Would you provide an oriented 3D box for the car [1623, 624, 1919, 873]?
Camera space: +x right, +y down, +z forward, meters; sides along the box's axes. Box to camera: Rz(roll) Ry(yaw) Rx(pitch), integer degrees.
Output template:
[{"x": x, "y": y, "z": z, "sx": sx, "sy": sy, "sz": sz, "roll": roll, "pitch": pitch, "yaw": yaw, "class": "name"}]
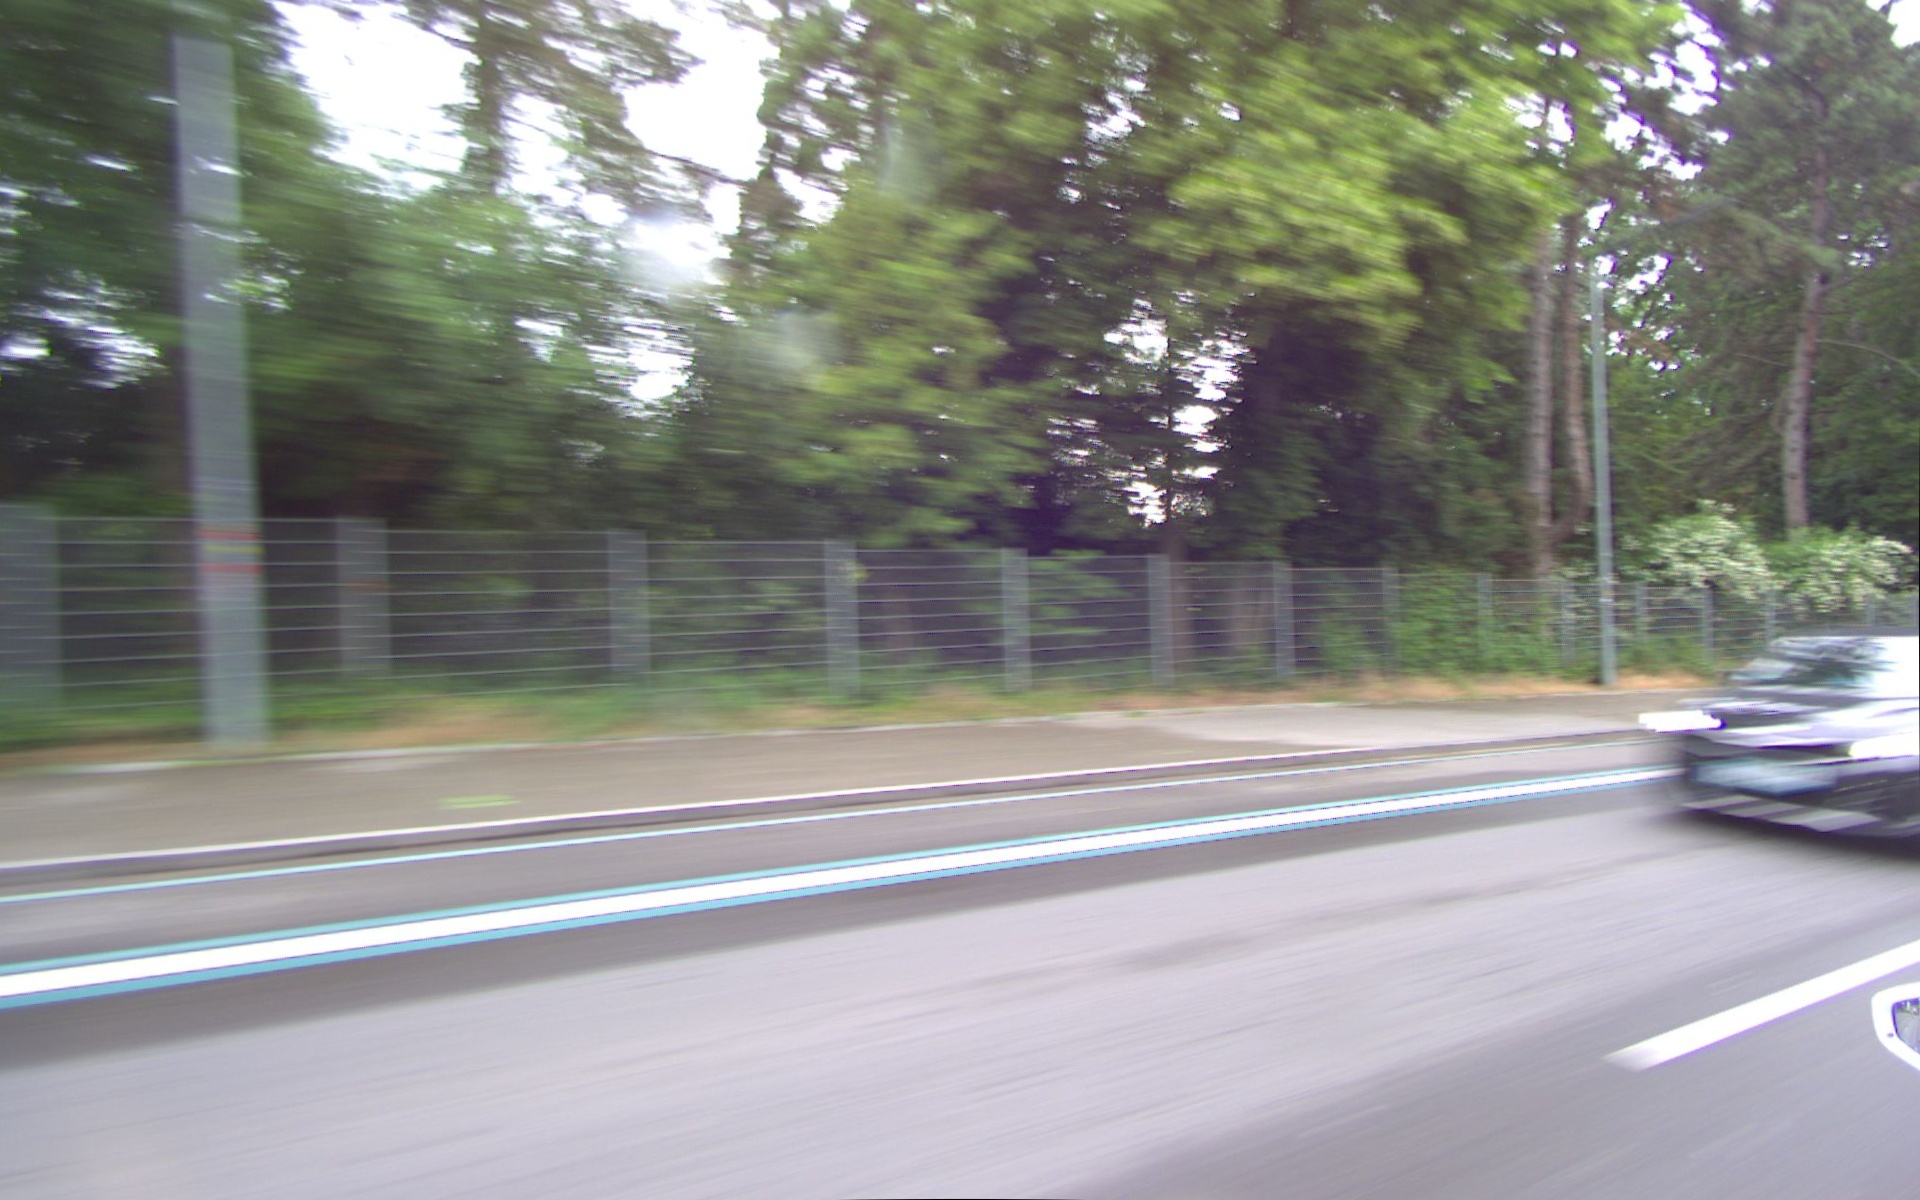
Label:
[{"x": 7.156, "y": 0.934, "z": 7.673, "sx": 4.098, "sy": 1.456, "sz": 1.753, "roll": 1, "pitch": 0, "yaw": -28, "class": "car"}]
